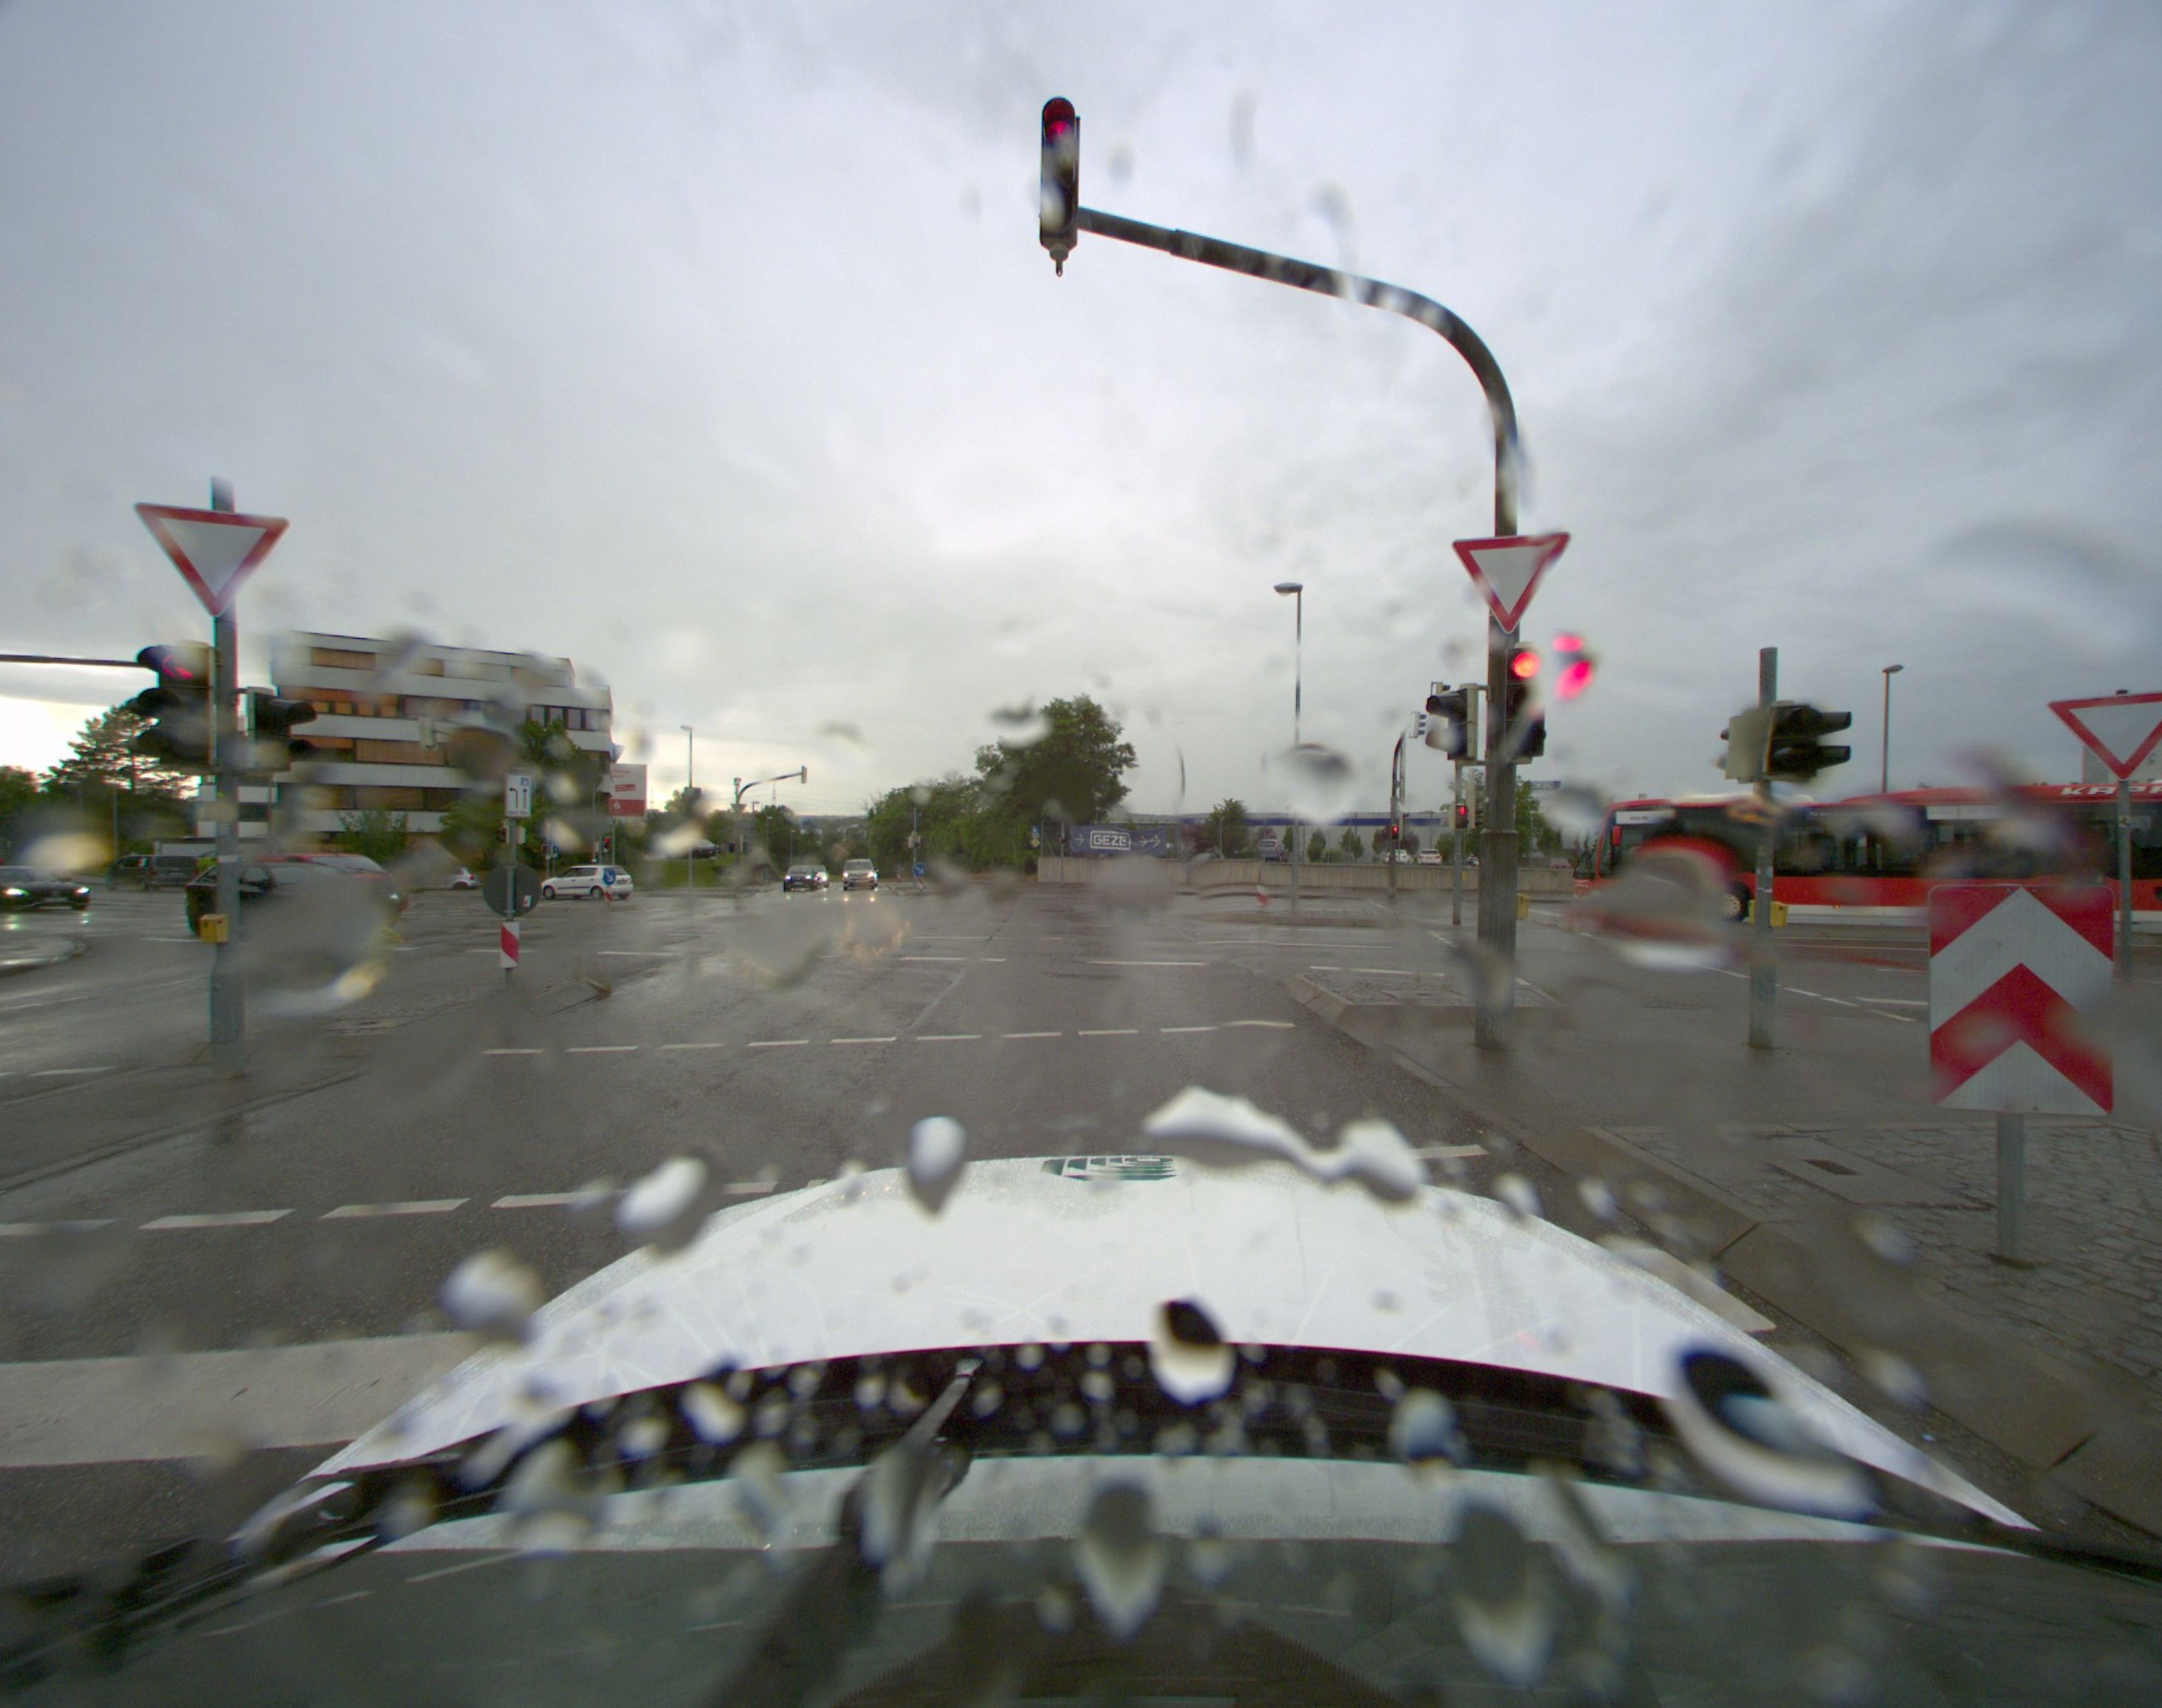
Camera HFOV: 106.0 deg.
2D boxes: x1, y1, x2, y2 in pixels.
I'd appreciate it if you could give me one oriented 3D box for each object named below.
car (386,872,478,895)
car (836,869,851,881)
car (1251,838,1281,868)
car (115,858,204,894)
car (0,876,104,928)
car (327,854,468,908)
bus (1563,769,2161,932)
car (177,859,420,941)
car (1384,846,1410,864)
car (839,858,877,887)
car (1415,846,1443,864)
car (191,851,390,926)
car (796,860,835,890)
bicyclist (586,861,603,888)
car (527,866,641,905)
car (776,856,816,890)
[{"bbox_3d":[-35.016,1.590,44.043,3.522,1.105,1.805,0,0,-26],"label":"car"},{"bbox_3d":[-32.815,2.896,112.387,1.621,1.448,3.781,1,1,-21],"label":"car"},{"bbox_3d":[13.095,-0.094,57.545,1.979,2.013,4.015,0,0,13],"label":"car"},{"bbox_3d":[-50.006,1.168,44.214,3.952,1.849,2.011,0,0,23],"label":"car"},{"bbox_3d":[-35.134,1.531,26.951,4.621,1.476,2.009,0,0,18],"label":"car"},{"bbox_3d":[-24.948,0.936,29.768,4.108,1.840,2.009,0,0,17],"label":"car"},{"bbox_3d":[18.733,-0.154,19.323,12.176,3.321,3.090,1,0,19],"label":"bus"},{"bbox_3d":[-17.965,0.982,18.738,4.580,1.679,2.044,0,1,17],"label":"car"},{"bbox_3d":[26.382,0.072,67.846,1.976,1.478,4.021,0,0,22],"label":"car"},{"bbox_3d":[-13.113,1.050,48.064,1.995,1.618,3.983,0,0,-13],"label":"car"},{"bbox_3d":[28.688,0.081,67.166,1.976,1.478,4.021,0,0,21],"label":"car"},{"bbox_3d":[-22.811,0.954,23.541,4.735,2.013,2.009,0,0,16],"label":"car"},{"bbox_3d":[-18.212,1.410,56.042,1.994,1.895,3.986,0,0,-11],"label":"car"},{"bbox_3d":[-26.014,1.101,43.530,0.542,1.446,0.602,0,0,-5],"label":"bicyclist"},{"bbox_3d":[-21.702,1.353,35.636,3.960,1.596,1.964,0,0,12],"label":"car"},{"bbox_3d":[-16.968,1.104,48.581,1.998,1.895,3.978,0,0,-16],"label":"car"}]
